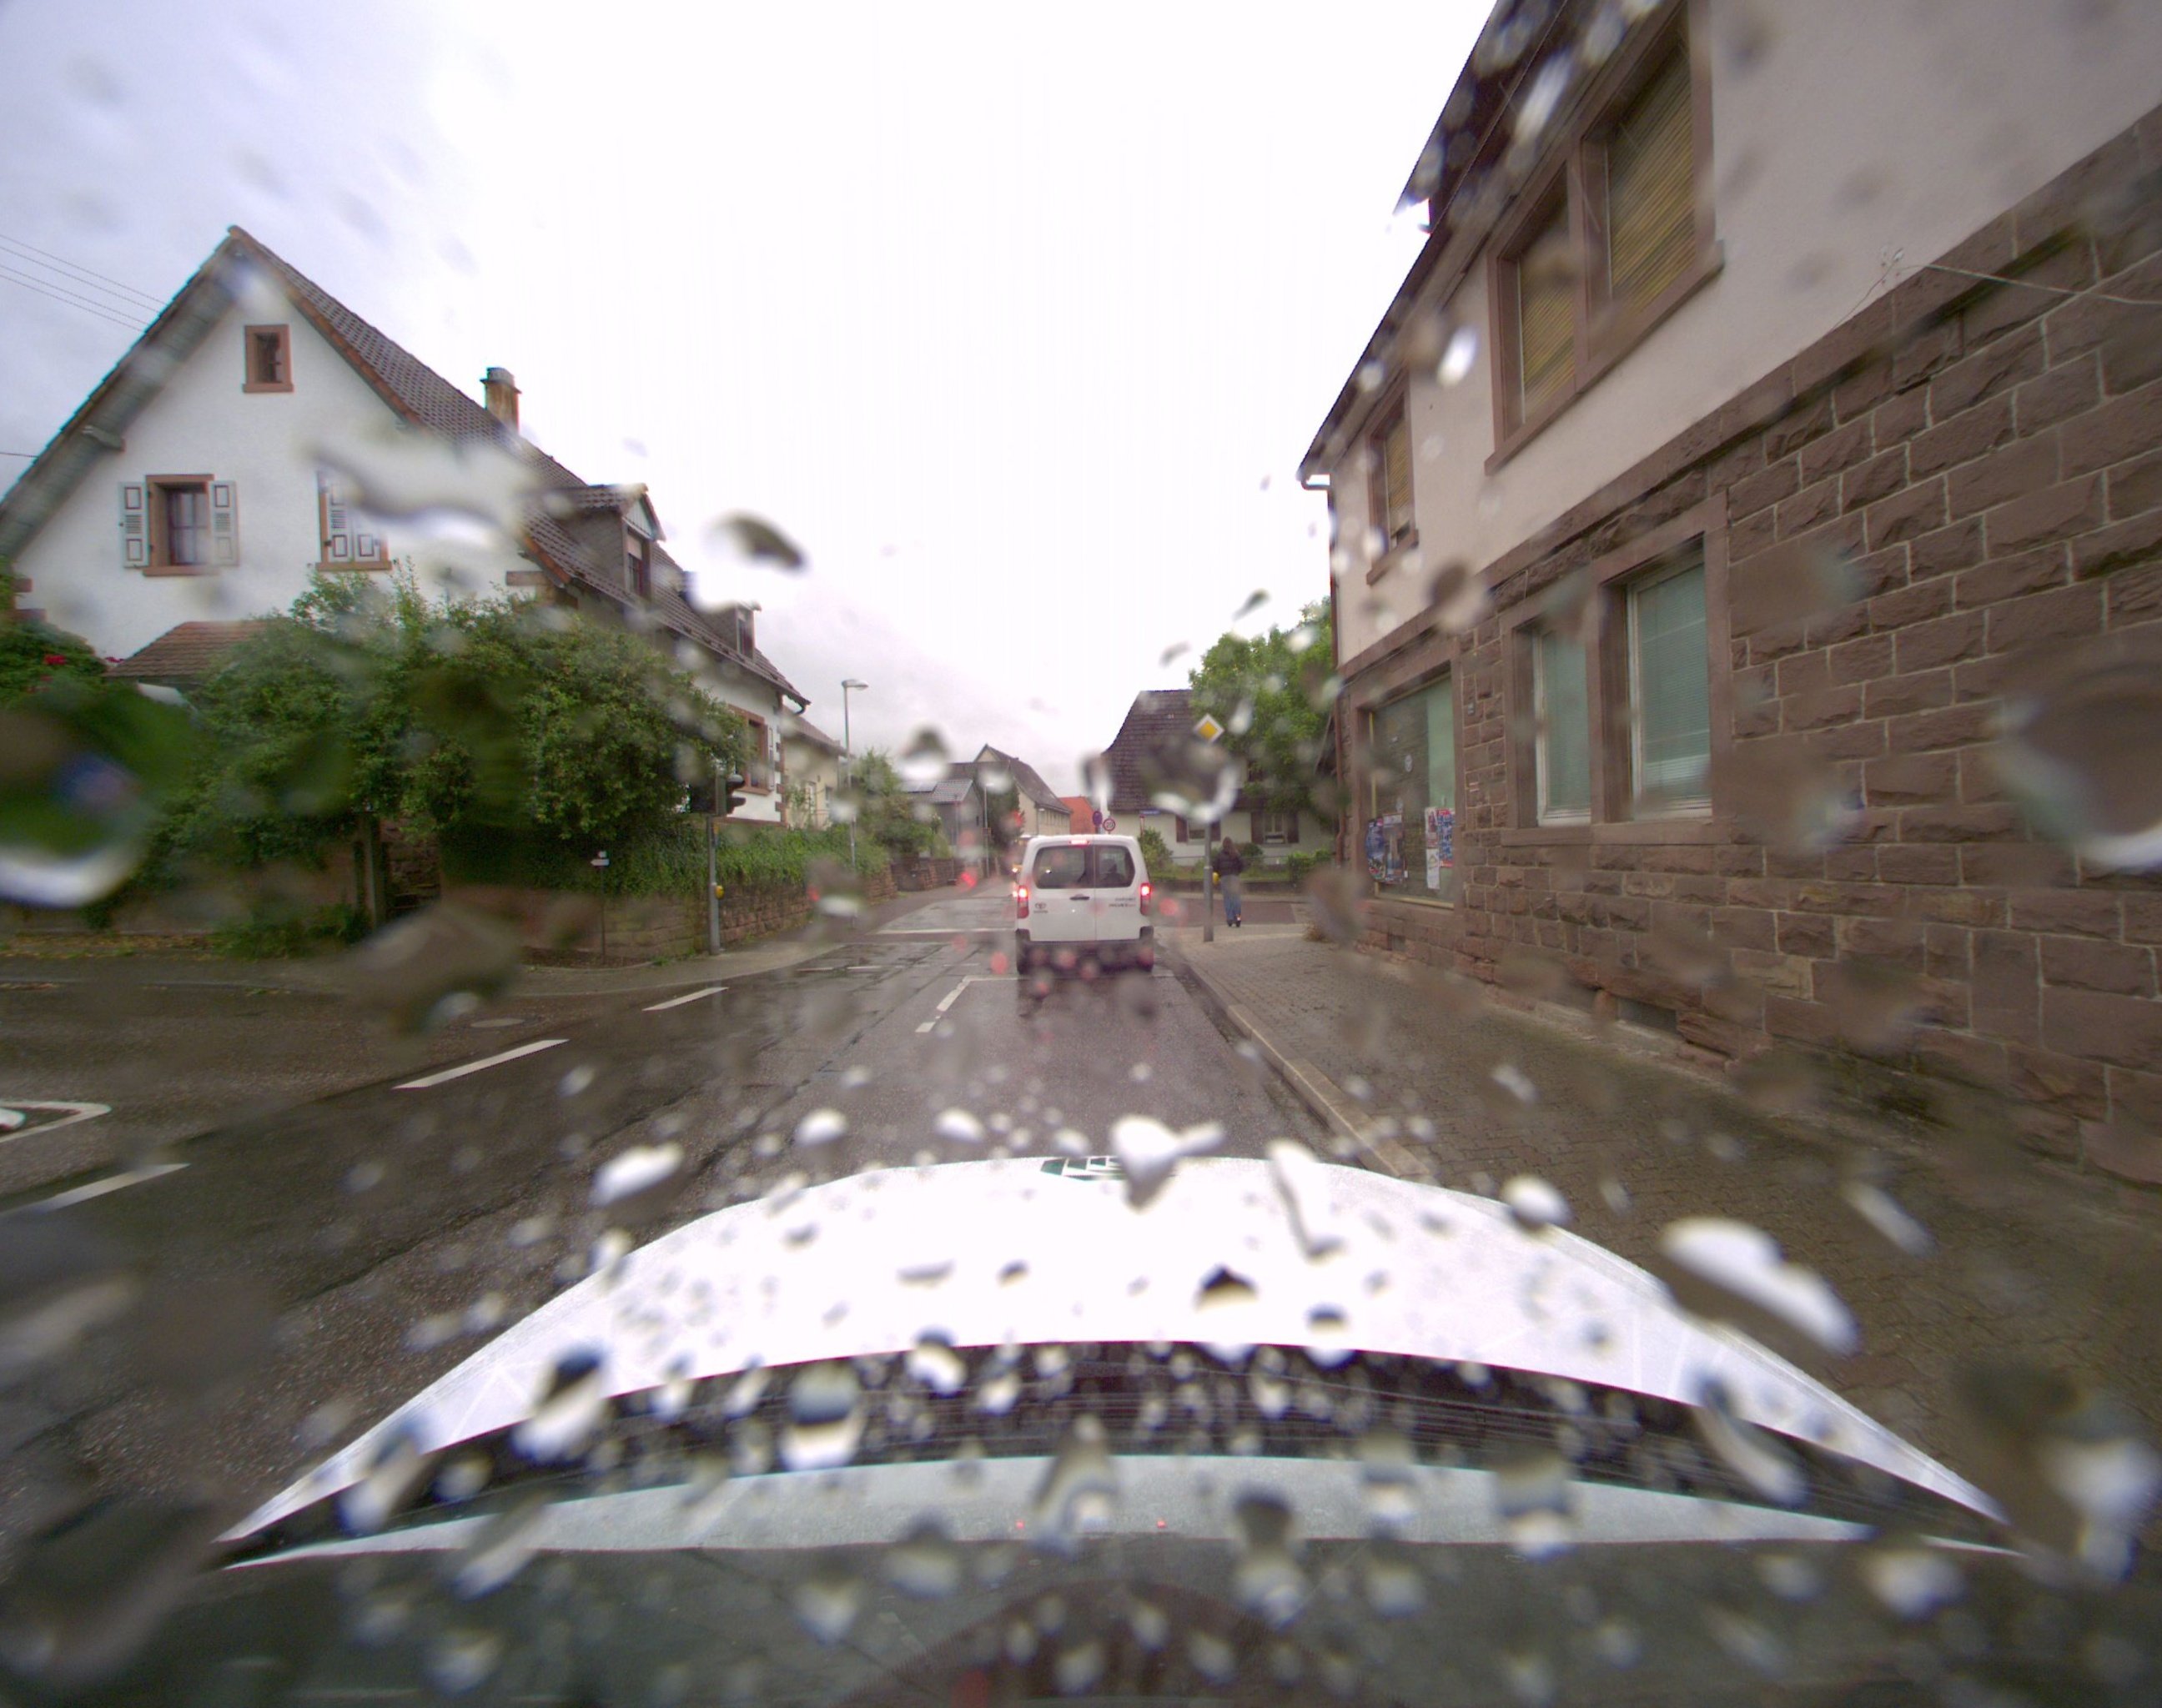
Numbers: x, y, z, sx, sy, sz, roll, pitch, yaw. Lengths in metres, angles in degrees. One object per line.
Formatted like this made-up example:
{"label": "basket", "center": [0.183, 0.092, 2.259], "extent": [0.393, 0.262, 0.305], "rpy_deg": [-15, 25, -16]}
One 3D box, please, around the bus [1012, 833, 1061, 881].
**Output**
{"label": "bus", "center": [-3.027, 0.049, 58.597], "extent": [2.640, 2.999, 12.195], "rpy_deg": [-1, 2, 1]}

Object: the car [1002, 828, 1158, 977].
{"label": "car", "center": [-0.030, 0.585, 11.841], "extent": [1.888, 1.794, 3.812], "rpy_deg": [-1, 0, -1]}

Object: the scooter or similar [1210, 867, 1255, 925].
{"label": "scooter or similar", "center": [3.114, 0.866, 16.838], "extent": [0.618, 1.127, 1.401], "rpy_deg": [-2, -4, -1]}

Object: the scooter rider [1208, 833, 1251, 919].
{"label": "scooter rider", "center": [3.095, 0.465, 17.002], "extent": [0.729, 1.734, 0.518], "rpy_deg": [-2, -4, -1]}
